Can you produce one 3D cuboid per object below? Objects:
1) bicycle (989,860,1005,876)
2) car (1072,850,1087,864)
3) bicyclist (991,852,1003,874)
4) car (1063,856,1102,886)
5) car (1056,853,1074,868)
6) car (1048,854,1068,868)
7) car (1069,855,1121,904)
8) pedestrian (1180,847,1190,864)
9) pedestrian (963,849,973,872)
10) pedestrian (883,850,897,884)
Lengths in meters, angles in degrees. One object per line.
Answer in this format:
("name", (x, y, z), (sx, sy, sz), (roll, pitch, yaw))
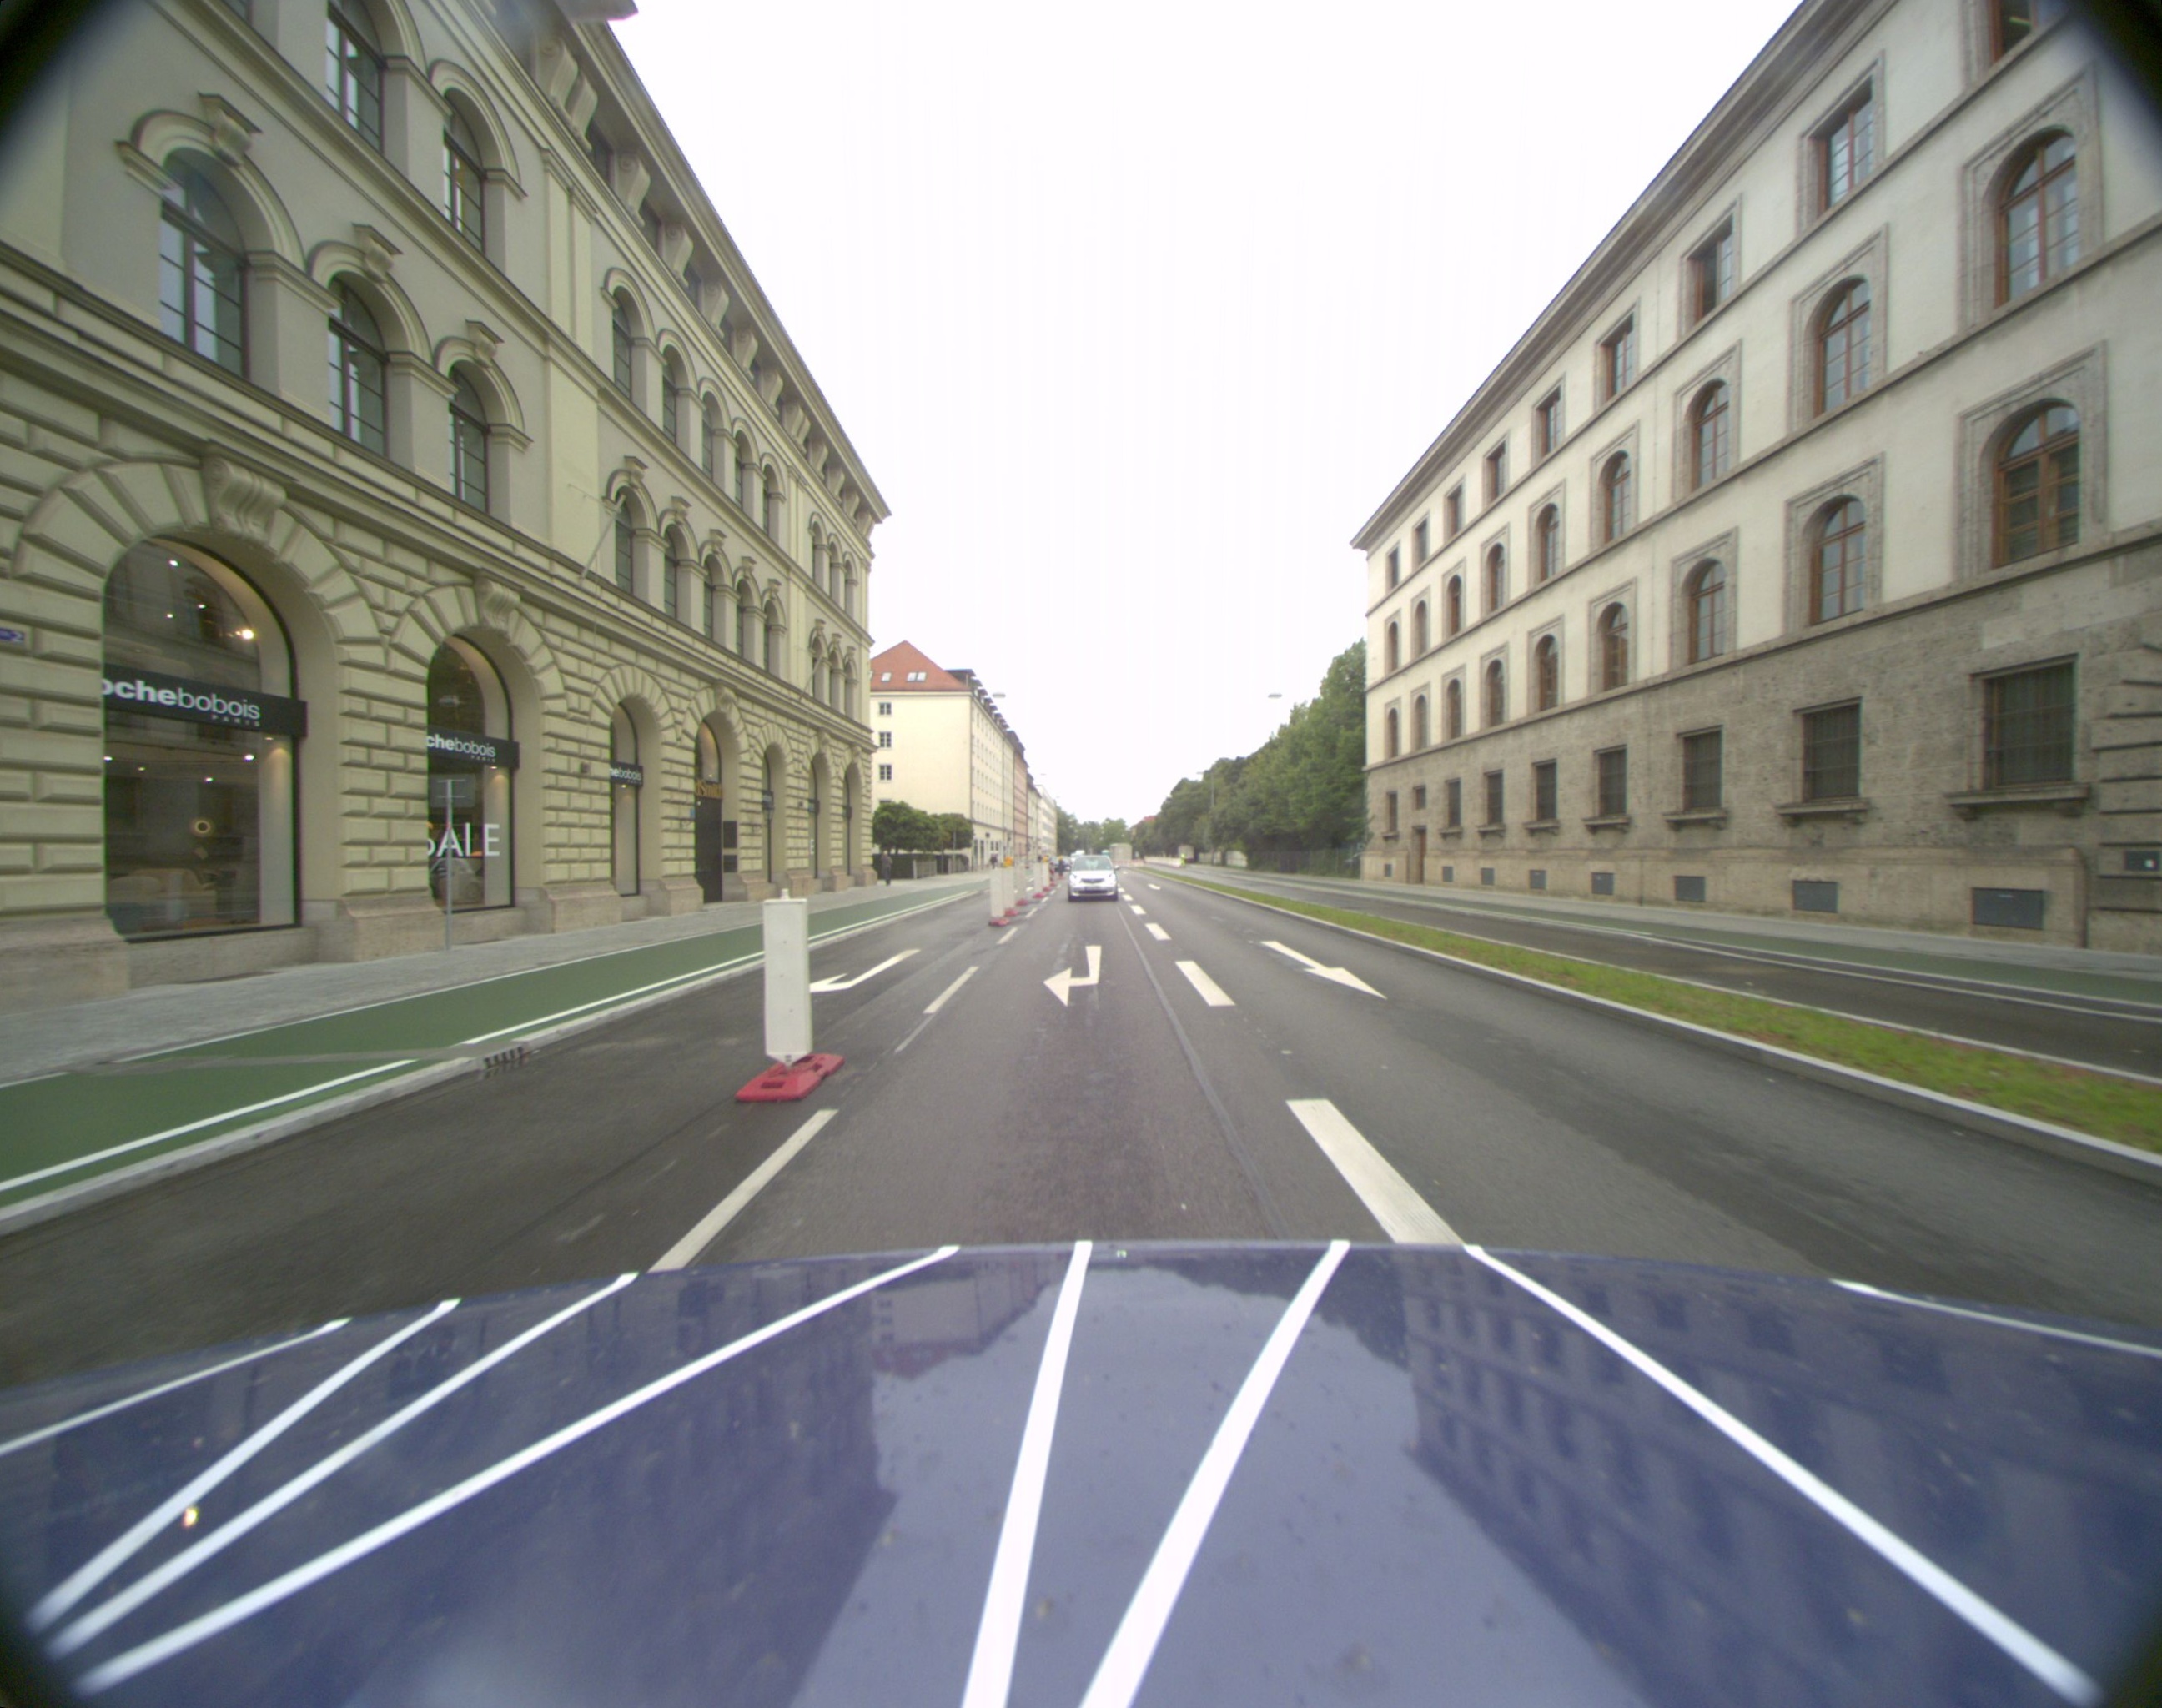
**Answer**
("bicycle", (-5.792, 0.963, 52.429), (0.751, 1.026, 2.531), (-1, 0, 1))
("car", (-0.232, 0.440, 108.924), (1.998, 2.002, 4.000), (0, 0, 1))
("bicyclist", (-5.802, 0.613, 52.431), (0.724, 1.543, 0.858), (-1, 1, 1))
("car", (0.107, 0.872, 41.153), (1.922, 1.433, 4.306), (-2, 0, 1))
("car", (-1.616, 0.658, 79.485), (1.739, 1.425, 4.000), (-1, 0, 1))
("car", (-2.190, 0.643, 74.082), (1.739, 1.313, 4.000), (-1, 0, 1))
("car", (0.471, 0.806, 26.103), (1.633, 1.494, 4.000), (-1, 0, 1))
("pedestrian", (12.480, 0.200, 91.317), (0.868, 2.002, 0.757), (-2, 1, -19))
("pedestrian", (-9.362, 0.507, 62.935), (0.655, 1.863, 0.826), (1, 1, 1))
("pedestrian", (-9.617, 0.650, 38.274), (0.634, 1.694, 1.084), (0, 1, -14))
